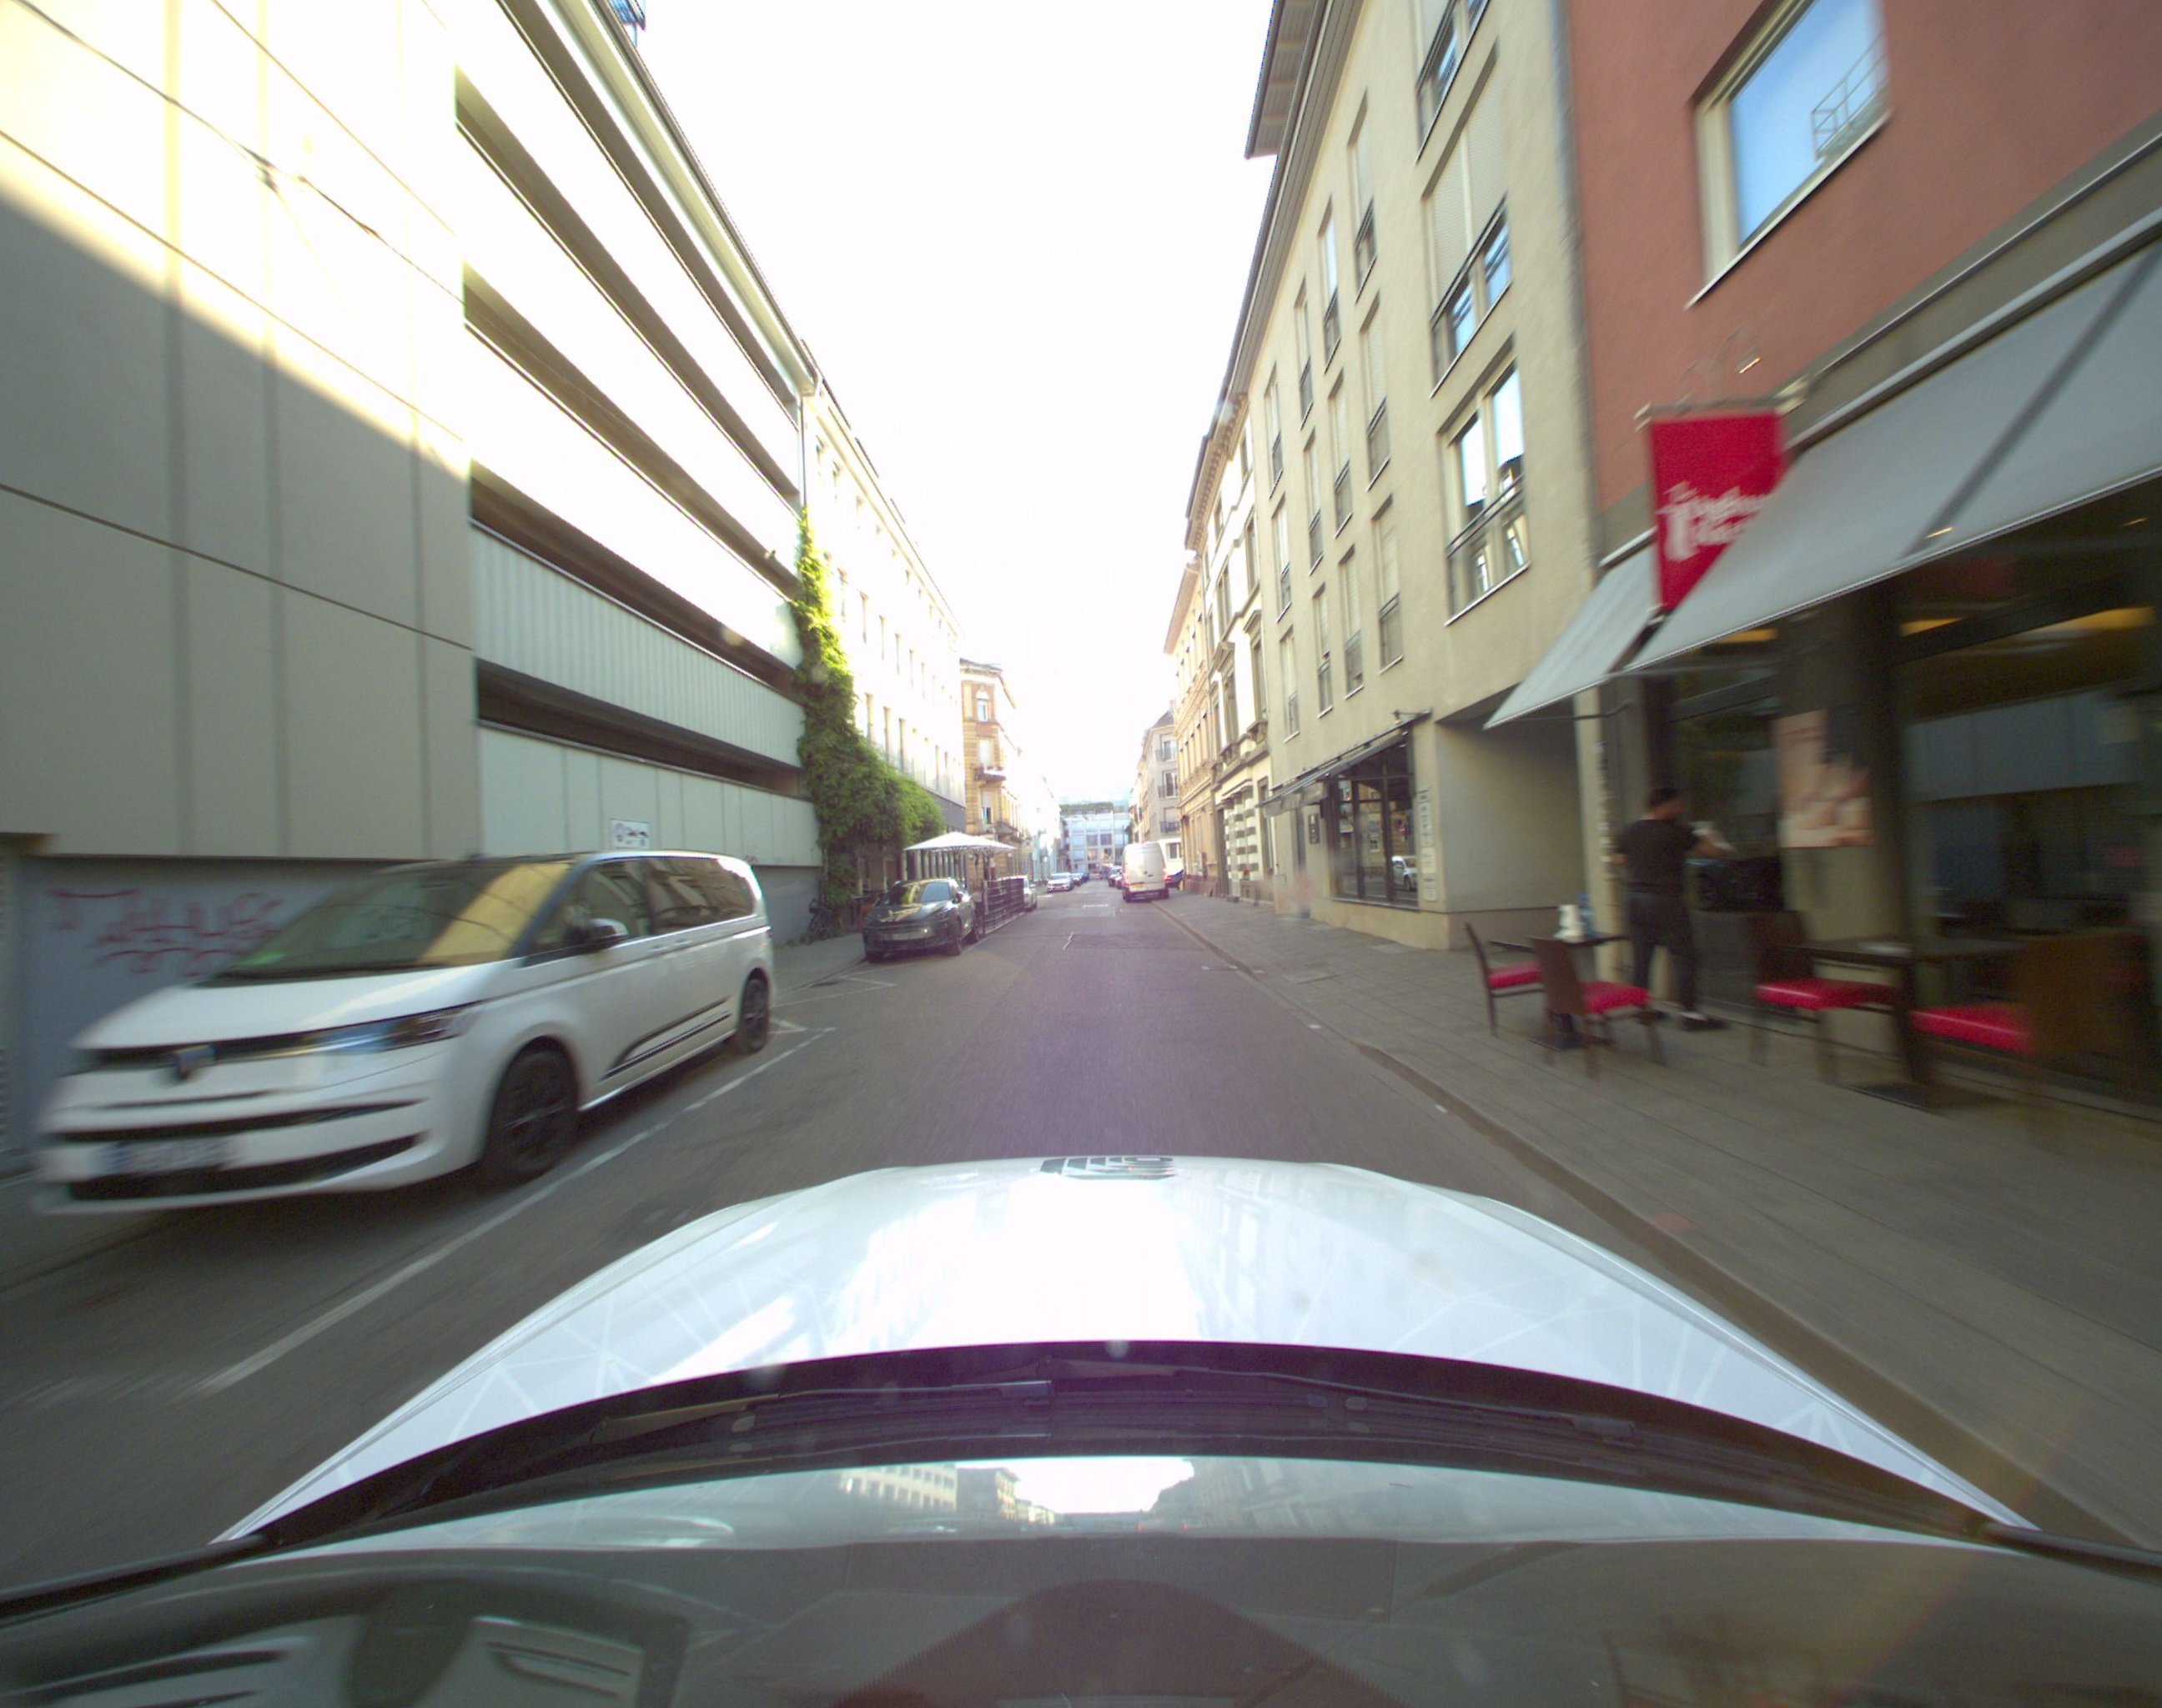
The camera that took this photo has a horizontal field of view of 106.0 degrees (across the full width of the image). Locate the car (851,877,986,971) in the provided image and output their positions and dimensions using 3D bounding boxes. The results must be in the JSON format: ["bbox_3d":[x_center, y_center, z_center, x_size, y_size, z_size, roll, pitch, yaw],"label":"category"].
[{"bbox_3d":[-3.324,1.376,17.662,1.876,1.568,4.768,-5,-1,-1],"label":"car"}]

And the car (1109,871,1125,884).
[{"bbox_3d":[4.921,3.181,111.474,1.987,1.700,4.000,-3,-1,1],"label":"car"}]

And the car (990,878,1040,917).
[{"bbox_3d":[-2.695,1.756,33.887,1.652,1.414,3.882,-3,-2,0],"label":"car"}]

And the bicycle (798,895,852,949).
[{"bbox_3d":[-6.201,1.631,19.831,0.640,1.160,1.795,-2,-1,2],"label":"bicycle"}]

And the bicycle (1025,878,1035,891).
[{"bbox_3d":[-4.793,2.896,76.764,0.735,1.161,2.461,-3,-1,1],"label":"bicycle"}]

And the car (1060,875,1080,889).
[{"bbox_3d":[-1.144,3.035,88.237,1.986,1.355,4.429,-3,-1,1],"label":"car"}]

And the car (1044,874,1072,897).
[{"bbox_3d":[-1.797,2.486,65.212,1.988,1.564,4.504,-5,-1,-1],"label":"car"}]

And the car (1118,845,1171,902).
[{"bbox_3d":[2.995,0.938,39.663,2.268,2.439,6.206,-3,-1,2],"label":"car"}]

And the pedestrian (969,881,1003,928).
[{"bbox_3d":[-2.762,1.455,23.663,0.778,1.287,0.915,-3,-1,1],"label":"pedestrian"}]

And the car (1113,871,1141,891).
[{"bbox_3d":[3.606,2.090,64.185,1.932,1.372,3.788,-5,-1,0],"label":"car"}]

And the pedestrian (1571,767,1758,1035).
[{"bbox_3d":[4.254,0.328,5.998,0.655,1.792,0.731,-6,-1,2],"label":"pedestrian"}]

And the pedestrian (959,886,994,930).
[{"bbox_3d":[-2.902,1.496,22.675,0.546,1.166,0.746,-4,-2,33],"label":"pedestrian"}]

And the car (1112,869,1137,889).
[{"bbox_3d":[3.725,2.144,70.256,1.957,1.557,3.889,-3,-1,1],"label":"car"}]

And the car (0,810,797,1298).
[{"bbox_3d":[-3.956,0.913,5.924,1.988,1.940,4.848,-5,-1,-1],"label":"car"}]

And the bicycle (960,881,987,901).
[{"bbox_3d":[-7.501,2.572,56.836,1.753,1.275,0.660,-3,2,-3],"label":"bicycle"}]

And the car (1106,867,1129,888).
[{"bbox_3d":[3.350,2.156,75.683,1.887,1.784,3.999,-3,-1,0],"label":"car"}]

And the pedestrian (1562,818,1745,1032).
[{"bbox_3d":[4.307,0.513,6.184,0.822,1.486,0.661,-4,-1,0],"label":"pedestrian"}]
